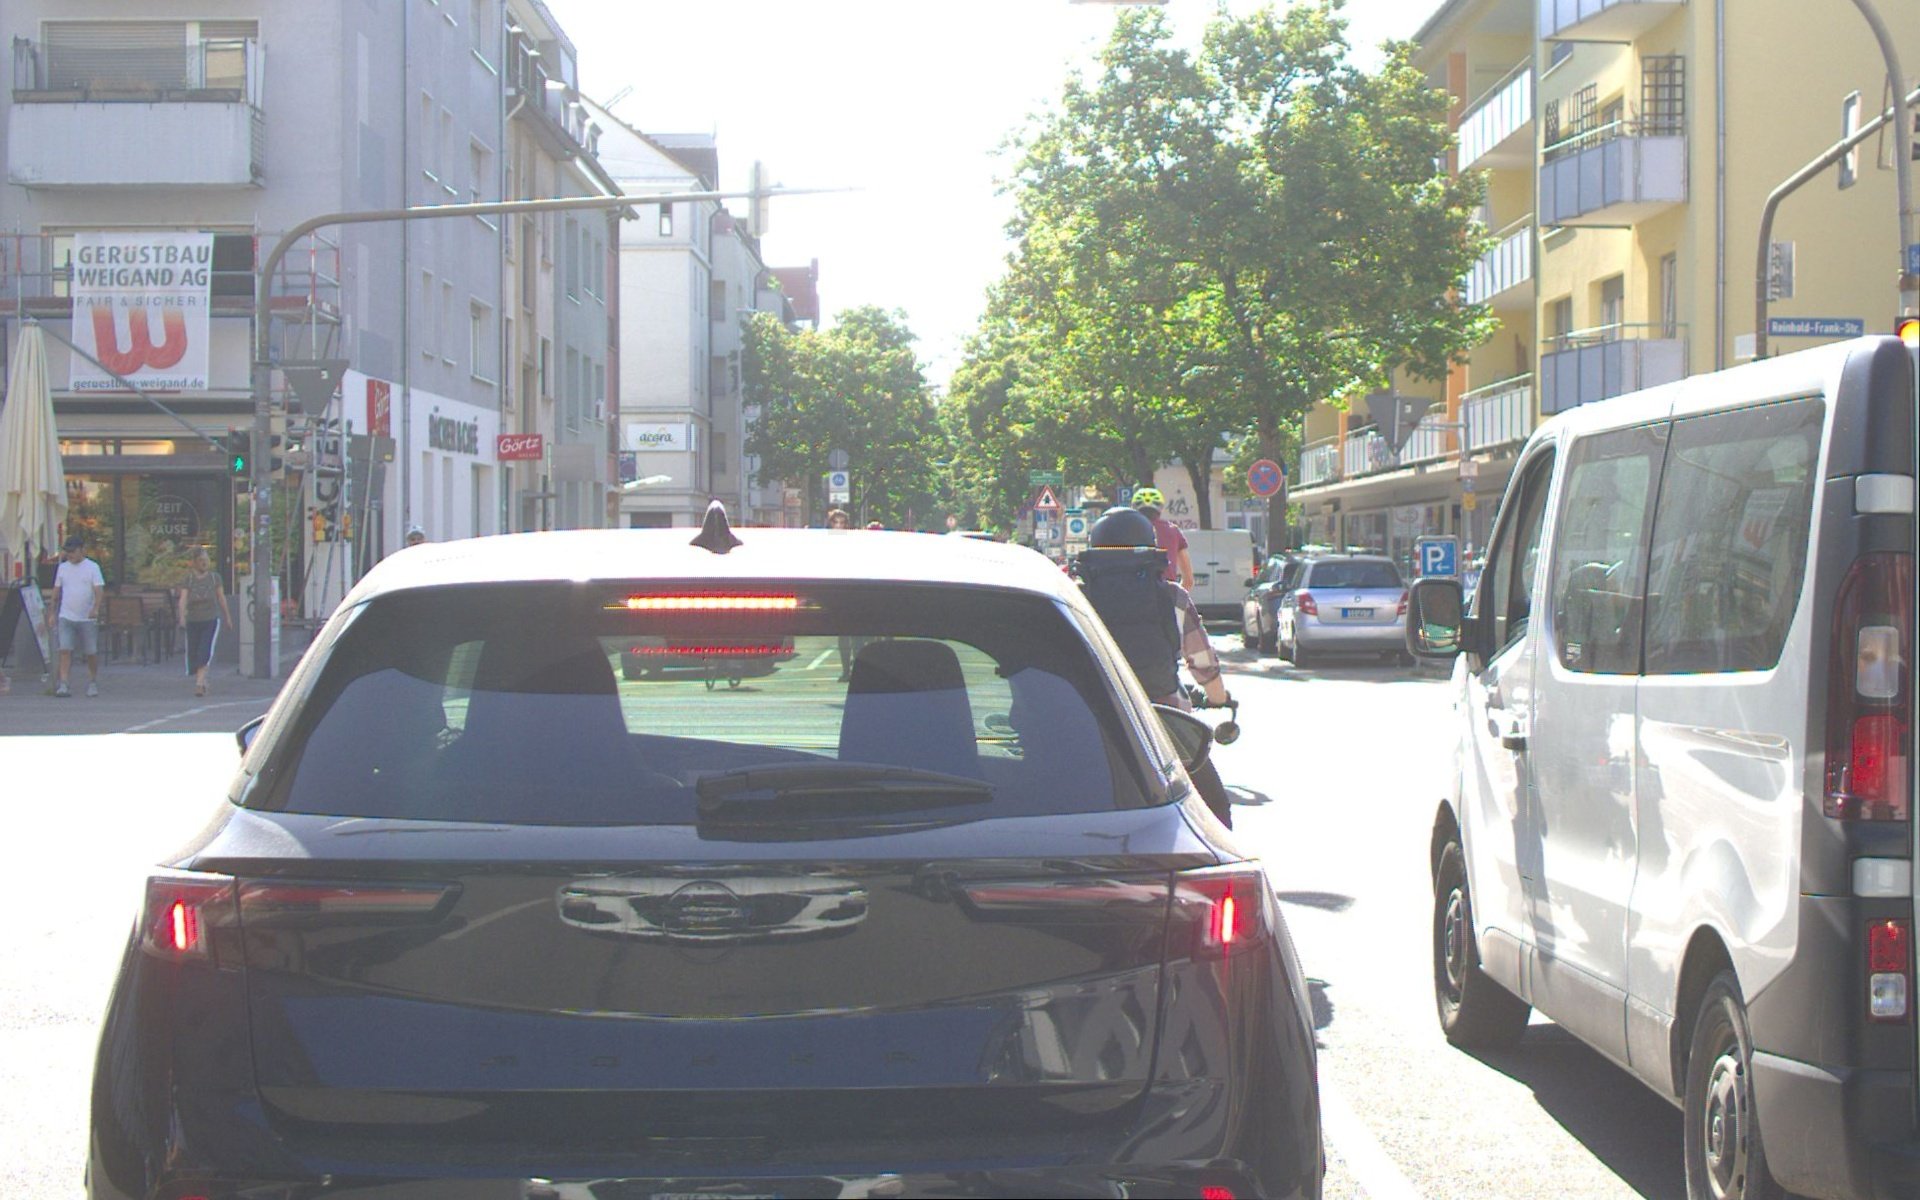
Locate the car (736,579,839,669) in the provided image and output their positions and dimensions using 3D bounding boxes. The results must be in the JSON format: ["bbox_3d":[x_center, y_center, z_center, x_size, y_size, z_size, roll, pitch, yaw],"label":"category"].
[{"bbox_3d":[-3.479,0.465,69.861,1.825,1.722,4.000,0,1,1],"label":"car"}]

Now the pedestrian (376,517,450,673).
[{"bbox_3d":[-5.928,-0.058,37.294,0.706,1.672,0.802,0,1,-2],"label":"pedestrian"}]

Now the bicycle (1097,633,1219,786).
[{"bbox_3d":[1.292,0.699,22.796,0.577,0.901,2.301,0,1,-2],"label":"bicycle"}]

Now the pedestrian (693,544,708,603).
[{"bbox_3d":[-7.344,-0.757,97.380,0.402,1.669,0.418,0,1,-1],"label":"pedestrian"}]

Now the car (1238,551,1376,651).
[{"bbox_3d":[5.209,-0.014,51.934,1.634,1.428,4.000,0,1,-1],"label":"car"}]

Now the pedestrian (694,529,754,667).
[{"bbox_3d":[-2.758,-0.028,40.275,0.680,1.600,0.762,0,1,-2],"label":"pedestrian"}]

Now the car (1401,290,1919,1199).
[{"bbox_3d":[2.473,0.429,8.546,1.993,1.972,4.895,2,1,-1],"label":"car"}]

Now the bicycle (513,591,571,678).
[{"bbox_3d":[-5.066,0.404,41.745,0.521,0.989,2.340,0,1,-2],"label":"bicycle"}]

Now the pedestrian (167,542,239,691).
[{"bbox_3d":[-7.810,0.161,35.471,0.617,1.516,0.725,0,1,-3],"label":"pedestrian"}]

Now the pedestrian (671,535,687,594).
[{"bbox_3d":[-7.983,-1.019,97.638,0.402,1.669,0.418,0,1,-1],"label":"pedestrian"}]

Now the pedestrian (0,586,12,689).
[{"bbox_3d":[-10.324,0.399,36.581,0.355,1.088,0.462,0,1,-3],"label":"pedestrian"}]

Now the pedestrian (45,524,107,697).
[{"bbox_3d":[-9.111,0.106,35.437,0.561,1.769,0.584,0,1,-9],"label":"pedestrian"}]

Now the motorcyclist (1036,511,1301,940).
[{"bbox_3d":[0.741,0.430,12.581,0.864,1.497,1.160,0,1,-2],"label":"motorcyclist"}]

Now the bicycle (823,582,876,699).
[{"bbox_3d":[-1.150,0.402,35.585,0.521,1.143,2.170,0,1,-2],"label":"bicycle"}]

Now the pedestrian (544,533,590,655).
[{"bbox_3d":[-5.460,-0.086,47.756,0.570,1.684,0.588,0,1,-1],"label":"pedestrian"}]

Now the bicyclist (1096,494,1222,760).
[{"bbox_3d":[1.306,0.163,22.777,0.689,1.707,1.414,0,1,-2],"label":"bicyclist"}]

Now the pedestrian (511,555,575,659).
[{"bbox_3d":[-5.063,0.082,41.782,0.706,1.249,0.802,0,1,-2],"label":"pedestrian"}]

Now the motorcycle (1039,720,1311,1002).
[{"bbox_3d":[0.738,0.902,12.384,0.825,0.842,1.885,0,1,-1],"label":"motorcycle"}]

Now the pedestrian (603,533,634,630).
[{"bbox_3d":[-5.980,-0.325,60.285,0.488,1.684,0.588,0,1,-1],"label":"pedestrian"}]

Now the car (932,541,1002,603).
[{"bbox_3d":[0.221,-0.826,98.549,1.902,1.722,4.073,0,1,1],"label":"car"}]

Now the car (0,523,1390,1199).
[{"bbox_3d":[-0.423,0.630,6.335,1.770,1.525,4.001,0,1,-2],"label":"car"}]

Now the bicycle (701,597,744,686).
[{"bbox_3d":[-2.783,0.471,40.377,0.443,0.989,2.069,0,1,-2],"label":"bicycle"}]

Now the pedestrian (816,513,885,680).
[{"bbox_3d":[-1.133,-0.041,35.471,0.706,1.695,0.802,0,1,-2],"label":"pedestrian"}]

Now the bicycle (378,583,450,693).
[{"bbox_3d":[-5.965,0.401,37.620,0.521,1.143,2.284,0,1,-2],"label":"bicycle"}]

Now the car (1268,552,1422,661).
[{"bbox_3d":[5.249,0.056,47.254,1.634,1.428,3.957,0,1,-1],"label":"car"}]
